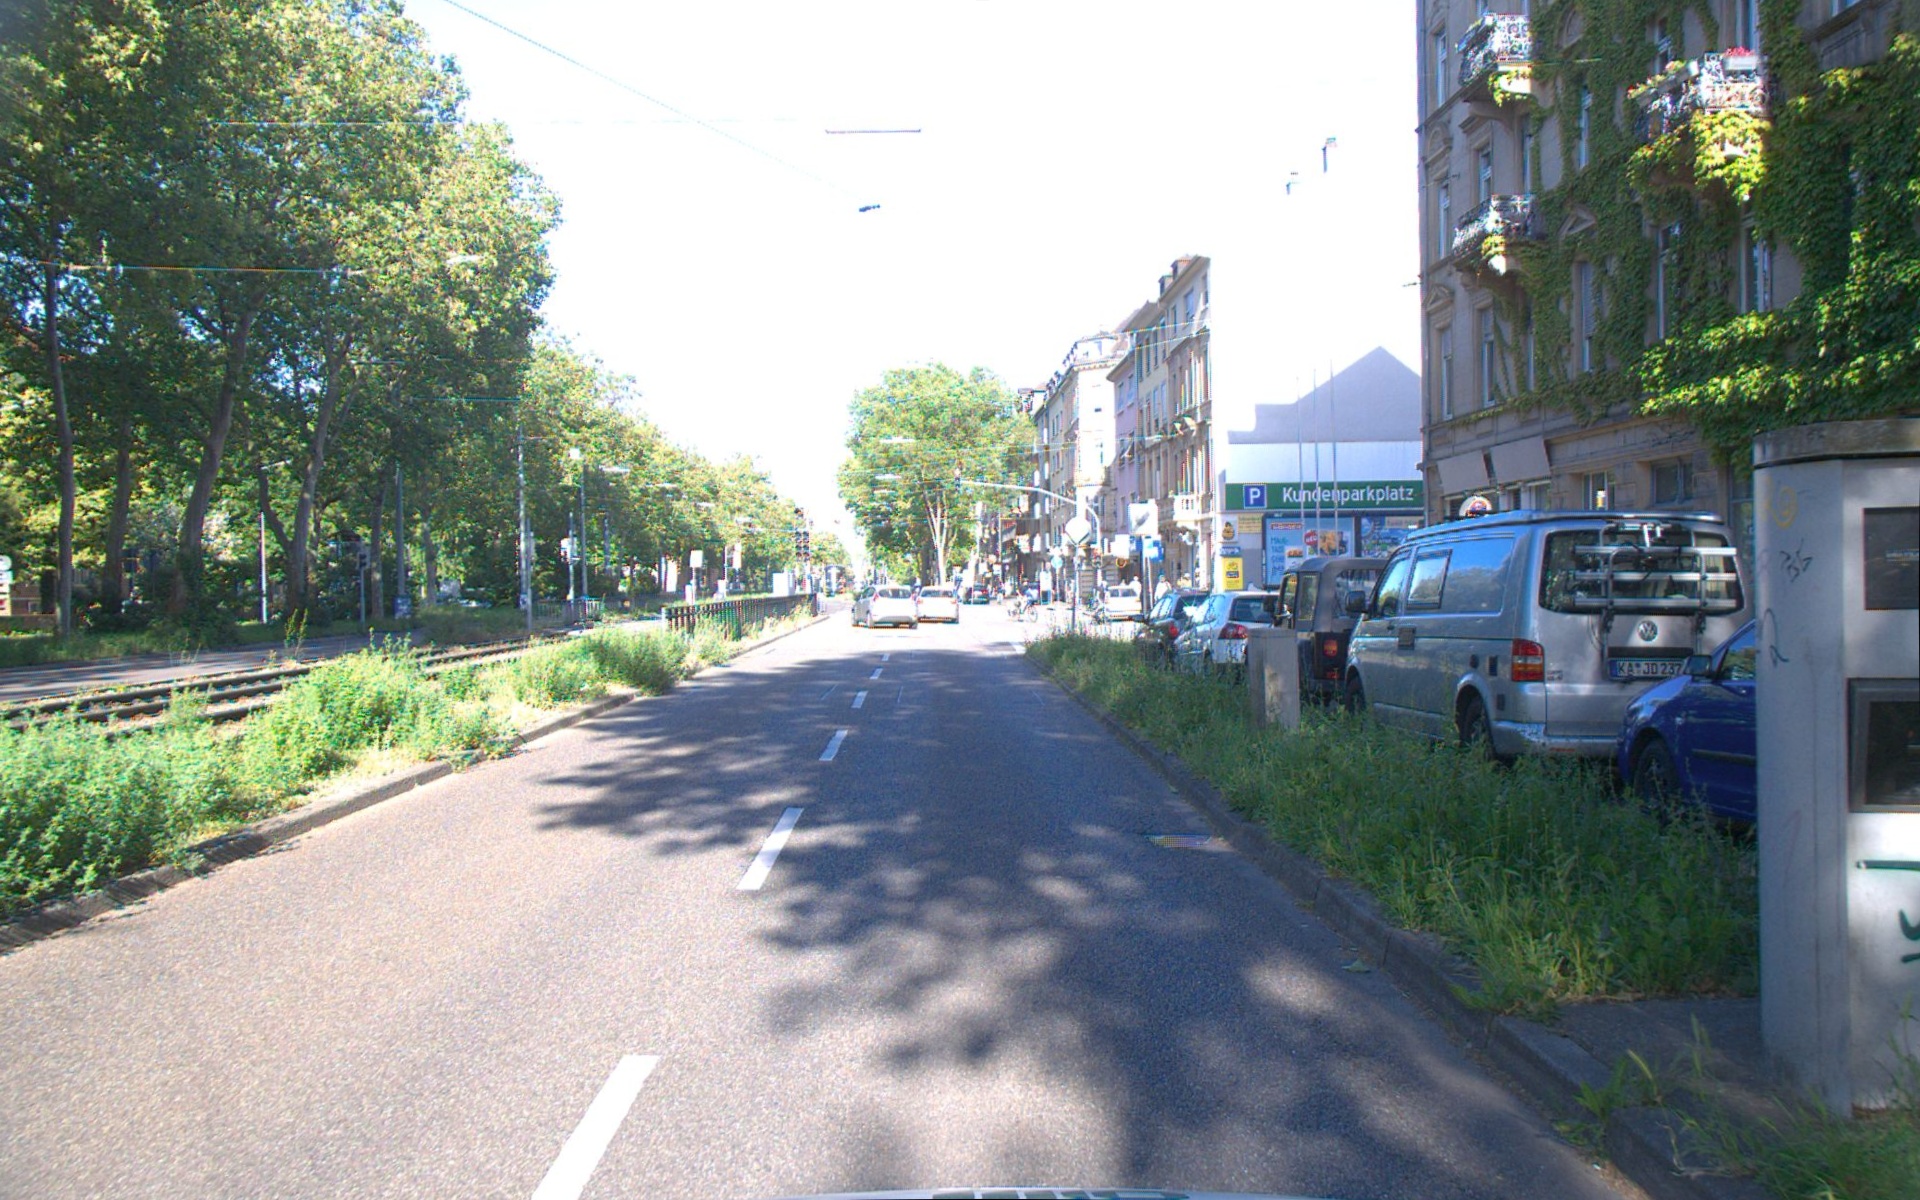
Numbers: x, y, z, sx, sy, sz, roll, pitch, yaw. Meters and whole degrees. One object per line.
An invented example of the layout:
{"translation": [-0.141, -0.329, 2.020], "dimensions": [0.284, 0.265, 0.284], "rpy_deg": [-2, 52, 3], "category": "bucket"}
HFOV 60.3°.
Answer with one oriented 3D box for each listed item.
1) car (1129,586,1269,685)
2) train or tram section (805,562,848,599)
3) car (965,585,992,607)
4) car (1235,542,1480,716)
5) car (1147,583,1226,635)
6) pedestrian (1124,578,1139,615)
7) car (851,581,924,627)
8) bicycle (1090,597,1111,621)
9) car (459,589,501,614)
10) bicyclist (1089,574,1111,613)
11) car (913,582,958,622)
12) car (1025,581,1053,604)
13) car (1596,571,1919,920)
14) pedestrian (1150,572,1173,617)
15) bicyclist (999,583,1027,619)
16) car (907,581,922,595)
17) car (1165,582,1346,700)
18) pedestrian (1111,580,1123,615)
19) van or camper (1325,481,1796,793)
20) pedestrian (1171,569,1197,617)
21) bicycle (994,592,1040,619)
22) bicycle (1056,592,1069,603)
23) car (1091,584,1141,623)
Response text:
{"translation": [4.061, 0.559, 28.686], "dimensions": [1.608, 1.544, 3.998], "rpy_deg": [2, 0, -3], "category": "car"}
{"translation": [-15.112, -2.197, 188.767], "dimensions": [3.888, 3.933, 17.484], "rpy_deg": [0, 1, -1], "category": "train or tram section"}
{"translation": [1.285, -0.293, 116.650], "dimensions": [1.701, 1.458, 3.676], "rpy_deg": [1, 0, -3], "category": "car"}
{"translation": [4.488, 0.284, 19.278], "dimensions": [1.826, 1.794, 3.999], "rpy_deg": [-1, 0, -1], "category": "car"}
{"translation": [7.330, 0.255, 53.833], "dimensions": [1.796, 1.513, 4.733], "rpy_deg": [-3, 1, -1], "category": "car"}
{"translation": [8.566, -0.161, 82.760], "dimensions": [0.659, 1.838, 0.530], "rpy_deg": [-1, 0, -2], "category": "pedestrian"}
{"translation": [-2.498, 0.125, 56.278], "dimensions": [1.584, 1.493, 3.871], "rpy_deg": [-1, 1, -17], "category": "car"}
{"translation": [5.536, 0.347, 65.265], "dimensions": [0.636, 0.936, 1.917], "rpy_deg": [-1, 0, -1], "category": "bicycle"}
{"translation": [-30.729, 0.106, 105.881], "dimensions": [1.636, 1.536, 4.143], "rpy_deg": [0, 1, -3], "category": "car"}
{"translation": [5.509, -0.265, 65.188], "dimensions": [0.663, 1.471, 1.181], "rpy_deg": [-4, 0, -1], "category": "bicyclist"}
{"translation": [-1.001, 0.053, 65.967], "dimensions": [1.705, 1.493, 3.999], "rpy_deg": [1, 1, -1], "category": "car"}
{"translation": [5.589, -0.546, 117.052], "dimensions": [1.700, 1.546, 3.635], "rpy_deg": [1, 0, -2], "category": "car"}
{"translation": [4.858, 0.610, 8.474], "dimensions": [1.558, 1.505, 3.827], "rpy_deg": [-1, 0, -3], "category": "car"}
{"translation": [8.217, -0.223, 67.465], "dimensions": [0.749, 1.786, 0.510], "rpy_deg": [-1, 0, -22], "category": "pedestrian"}
{"translation": [2.226, 0.032, 69.356], "dimensions": [0.738, 1.487, 0.941], "rpy_deg": [1, 0, -33], "category": "bicyclist"}
{"translation": [-6.442, -1.700, 234.779], "dimensions": [1.953, 2.049, 3.999], "rpy_deg": [-1, 0, -1], "category": "car"}
{"translation": [4.236, 0.543, 24.300], "dimensions": [1.704, 1.544, 3.998], "rpy_deg": [2, 0, -3], "category": "car"}
{"translation": [7.867, -0.119, 82.801], "dimensions": [0.538, 1.738, 0.388], "rpy_deg": [-1, 0, 1], "category": "pedestrian"}
{"translation": [4.582, 0.220, 13.594], "dimensions": [1.846, 2.049, 5.093], "rpy_deg": [-1, 0, -2], "category": "van or camper"}
{"translation": [8.876, -0.273, 65.580], "dimensions": [0.748, 1.873, 0.744], "rpy_deg": [-1, 0, -18], "category": "pedestrian"}
{"translation": [2.380, 0.234, 69.204], "dimensions": [0.753, 1.121, 1.921], "rpy_deg": [-1, 1, -44], "category": "bicycle"}
{"translation": [7.625, -0.194, 123.037], "dimensions": [0.739, 0.784, 1.944], "rpy_deg": [0, 1, -3], "category": "bicycle"}
{"translation": [6.484, 0.121, 68.924], "dimensions": [1.531, 1.440, 4.003], "rpy_deg": [-4, 1, -1], "category": "car"}
